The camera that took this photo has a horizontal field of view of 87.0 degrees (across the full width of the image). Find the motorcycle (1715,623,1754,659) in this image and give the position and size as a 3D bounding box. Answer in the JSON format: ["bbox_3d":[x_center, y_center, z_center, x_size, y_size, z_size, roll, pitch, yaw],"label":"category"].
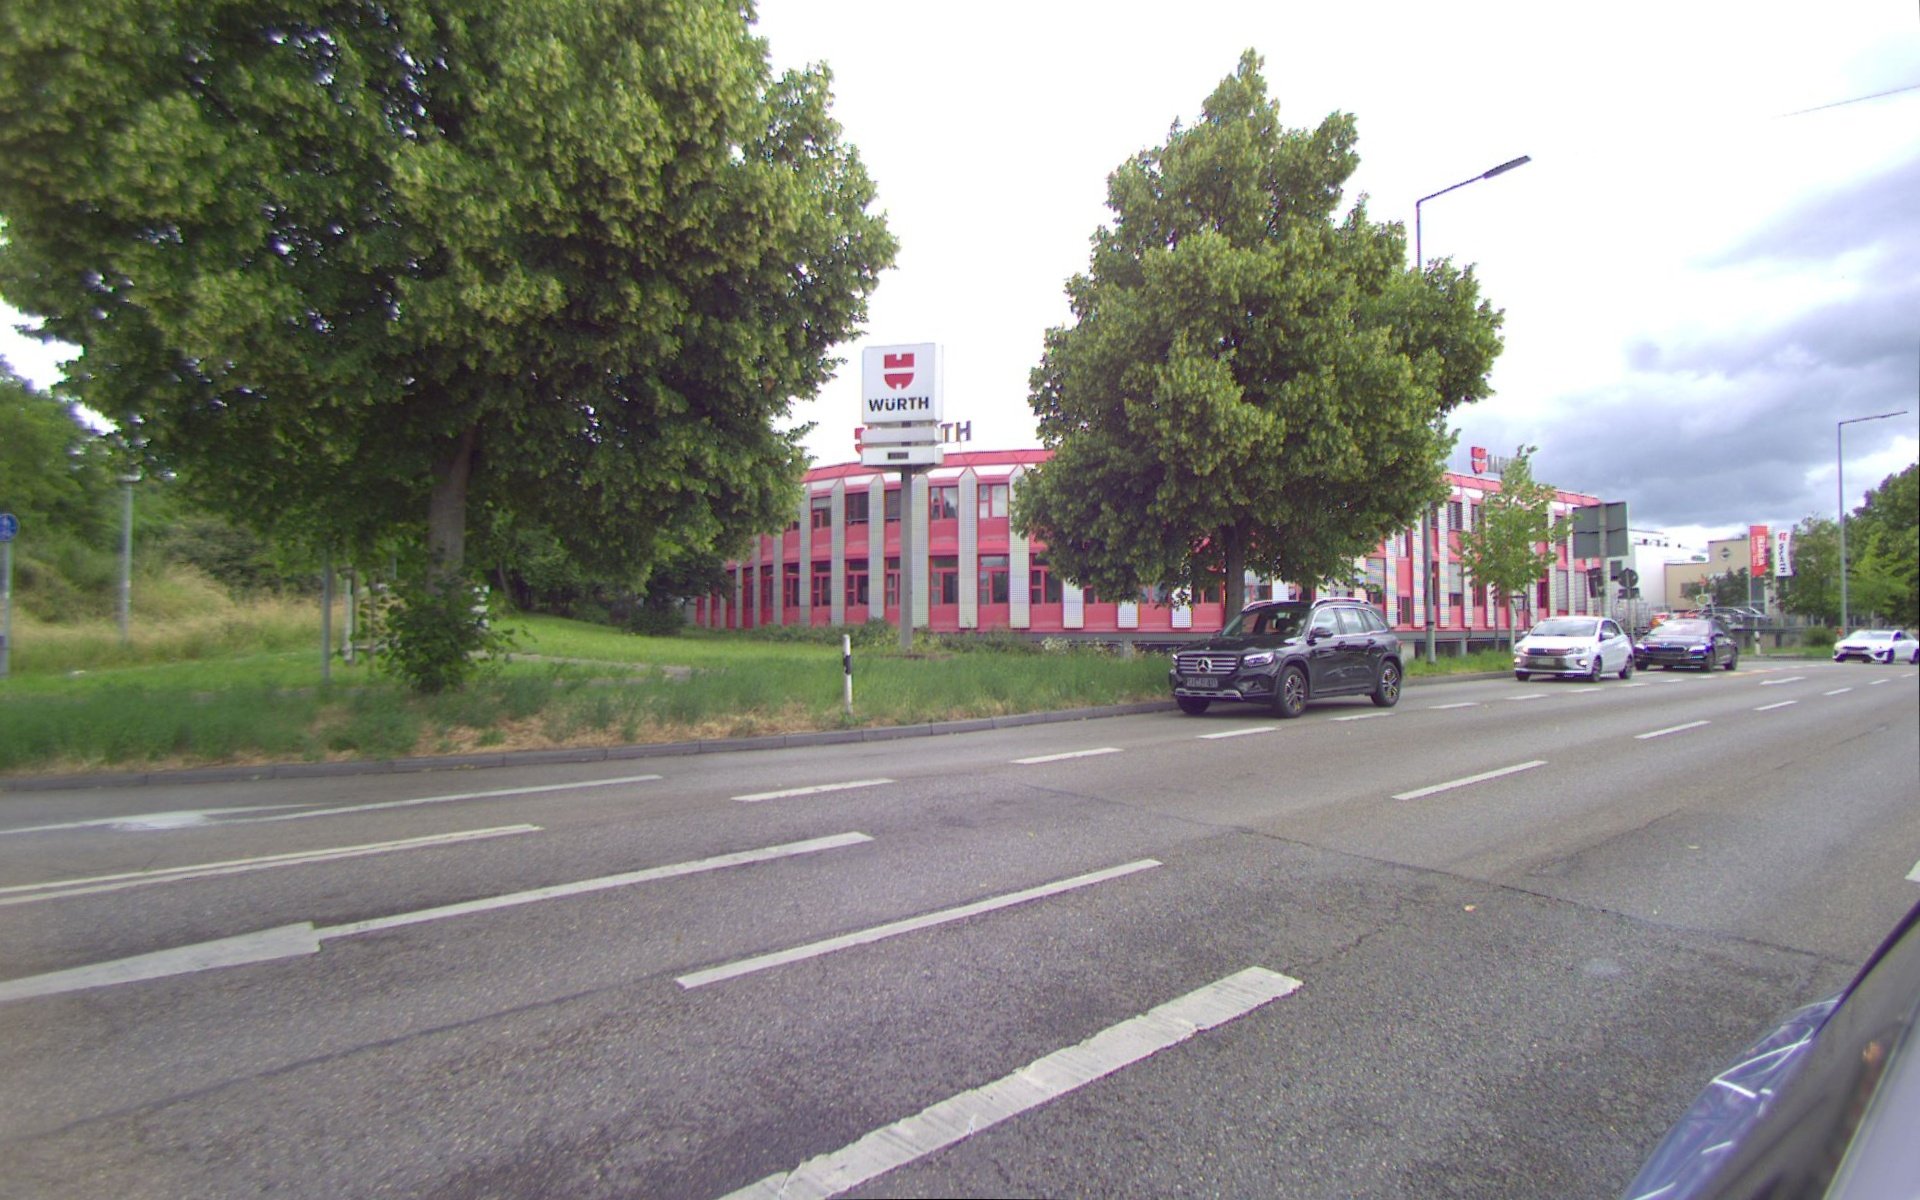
[{"bbox_3d":[25.158,1.323,32.866,1.911,1.162,0.748,2,-3,-45],"label":"motorcycle"}]

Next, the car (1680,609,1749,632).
[{"bbox_3d":[61.802,1.684,82.954,1.752,1.776,4.247,0,0,-39],"label":"car"}]

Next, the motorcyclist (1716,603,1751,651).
[{"bbox_3d":[25.087,0.874,32.815,0.748,1.510,0.918,-3,-3,45],"label":"motorcyclist"}]

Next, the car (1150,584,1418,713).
[{"bbox_3d":[4.958,0.698,15.198,4.347,1.671,1.783,1,-3,-40],"label":"car"}]

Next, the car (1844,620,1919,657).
[{"bbox_3d":[38.168,1.591,41.445,4.390,1.380,1.787,3,-2,-32],"label":"car"}]

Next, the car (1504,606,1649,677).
[{"bbox_3d":[14.306,0.952,23.428,3.766,1.461,1.784,3,-1,-41],"label":"car"}]

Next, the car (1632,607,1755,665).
[{"bbox_3d":[20.756,1.022,28.564,4.446,1.464,1.784,3,-1,-40],"label":"car"}]
